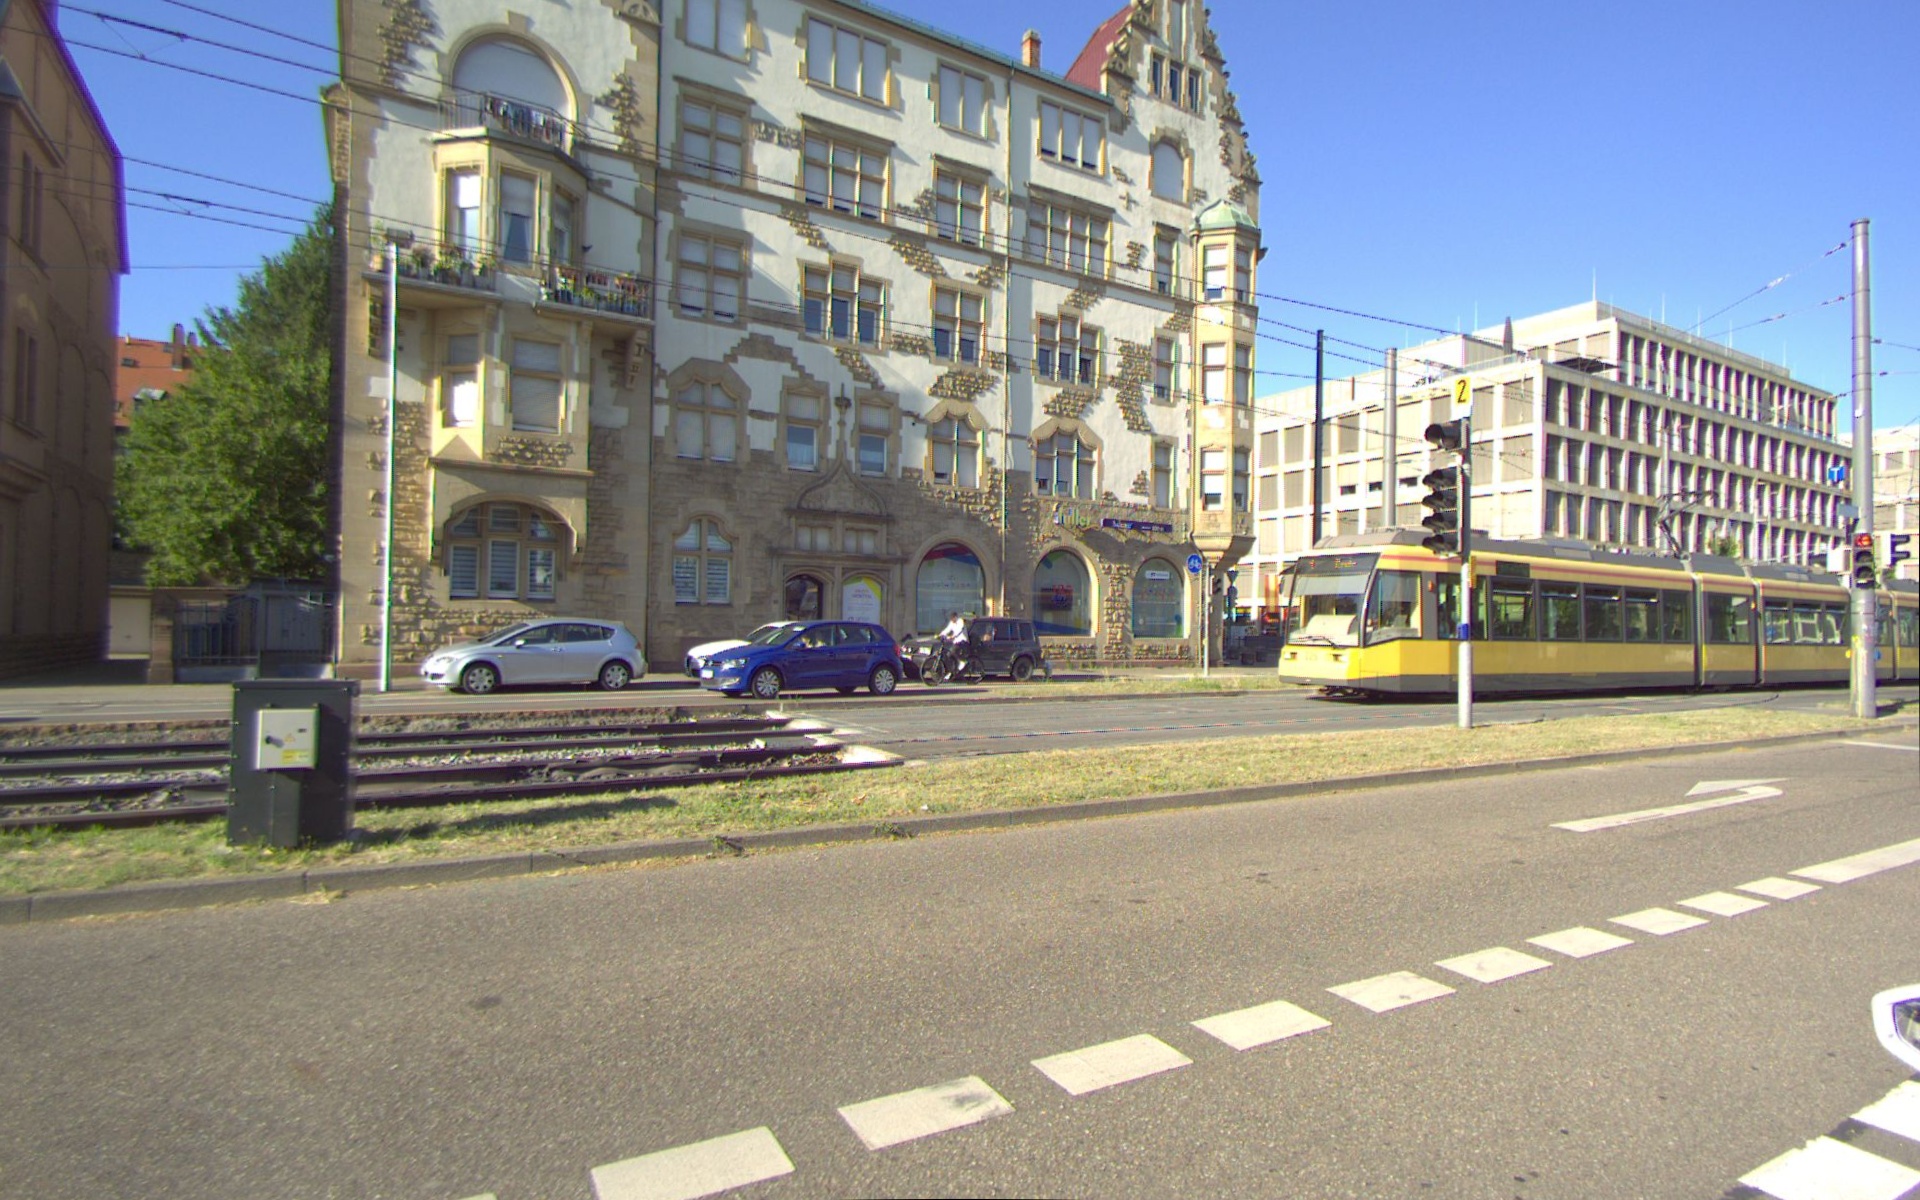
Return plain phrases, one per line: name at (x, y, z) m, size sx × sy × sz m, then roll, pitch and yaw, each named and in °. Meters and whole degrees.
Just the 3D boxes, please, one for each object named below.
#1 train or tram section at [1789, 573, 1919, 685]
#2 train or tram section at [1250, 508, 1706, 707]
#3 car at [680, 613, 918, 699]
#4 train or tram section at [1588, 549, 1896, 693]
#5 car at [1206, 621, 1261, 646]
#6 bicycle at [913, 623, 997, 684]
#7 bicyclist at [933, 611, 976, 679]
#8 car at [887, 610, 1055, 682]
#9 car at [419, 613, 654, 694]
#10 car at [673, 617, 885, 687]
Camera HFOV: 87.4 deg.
train or tram section at (33.926, 1.094, 36.000) m, size 12.017 × 3.535 × 2.798 m, roll 2°, pitch -2°, yaw -32°
train or tram section at (12.111, 0.334, 22.512) m, size 13.055 × 3.535 × 2.798 m, roll 2°, pitch -2°, yaw -32°
car at (-3.009, 1.042, 19.122) m, size 4.118 × 1.476 × 1.807 m, roll 2°, pitch -2°, yaw -37°
train or tram section at (23.228, 0.723, 29.404) m, size 13.055 × 3.535 × 2.798 m, roll 2°, pitch -2°, yaw -32°
car at (22.178, 2.692, 81.512) m, size 1.894 × 1.939 × 4.034 m, roll 2°, pitch -2°, yaw -34°
bicycle at (-0.102, 1.278, 23.994) m, size 1.924 × 1.400 × 0.681 m, roll 2°, pitch -2°, yaw -30°
bicyclist at (-0.127, 1.069, 23.976) m, size 0.776 × 1.583 × 0.682 m, roll 2°, pitch -2°, yaw -30°
car at (0.321, 1.184, 26.480) m, size 4.172 × 1.698 × 1.707 m, roll 2°, pitch 1°, yaw -33°
car at (-8.611, 1.054, 20.546) m, size 4.179 × 1.450 × 1.698 m, roll 2°, pitch 1°, yaw -34°
car at (-4.204, 1.186, 23.610) m, size 4.606 × 1.442 × 1.706 m, roll 2°, pitch 1°, yaw -33°
